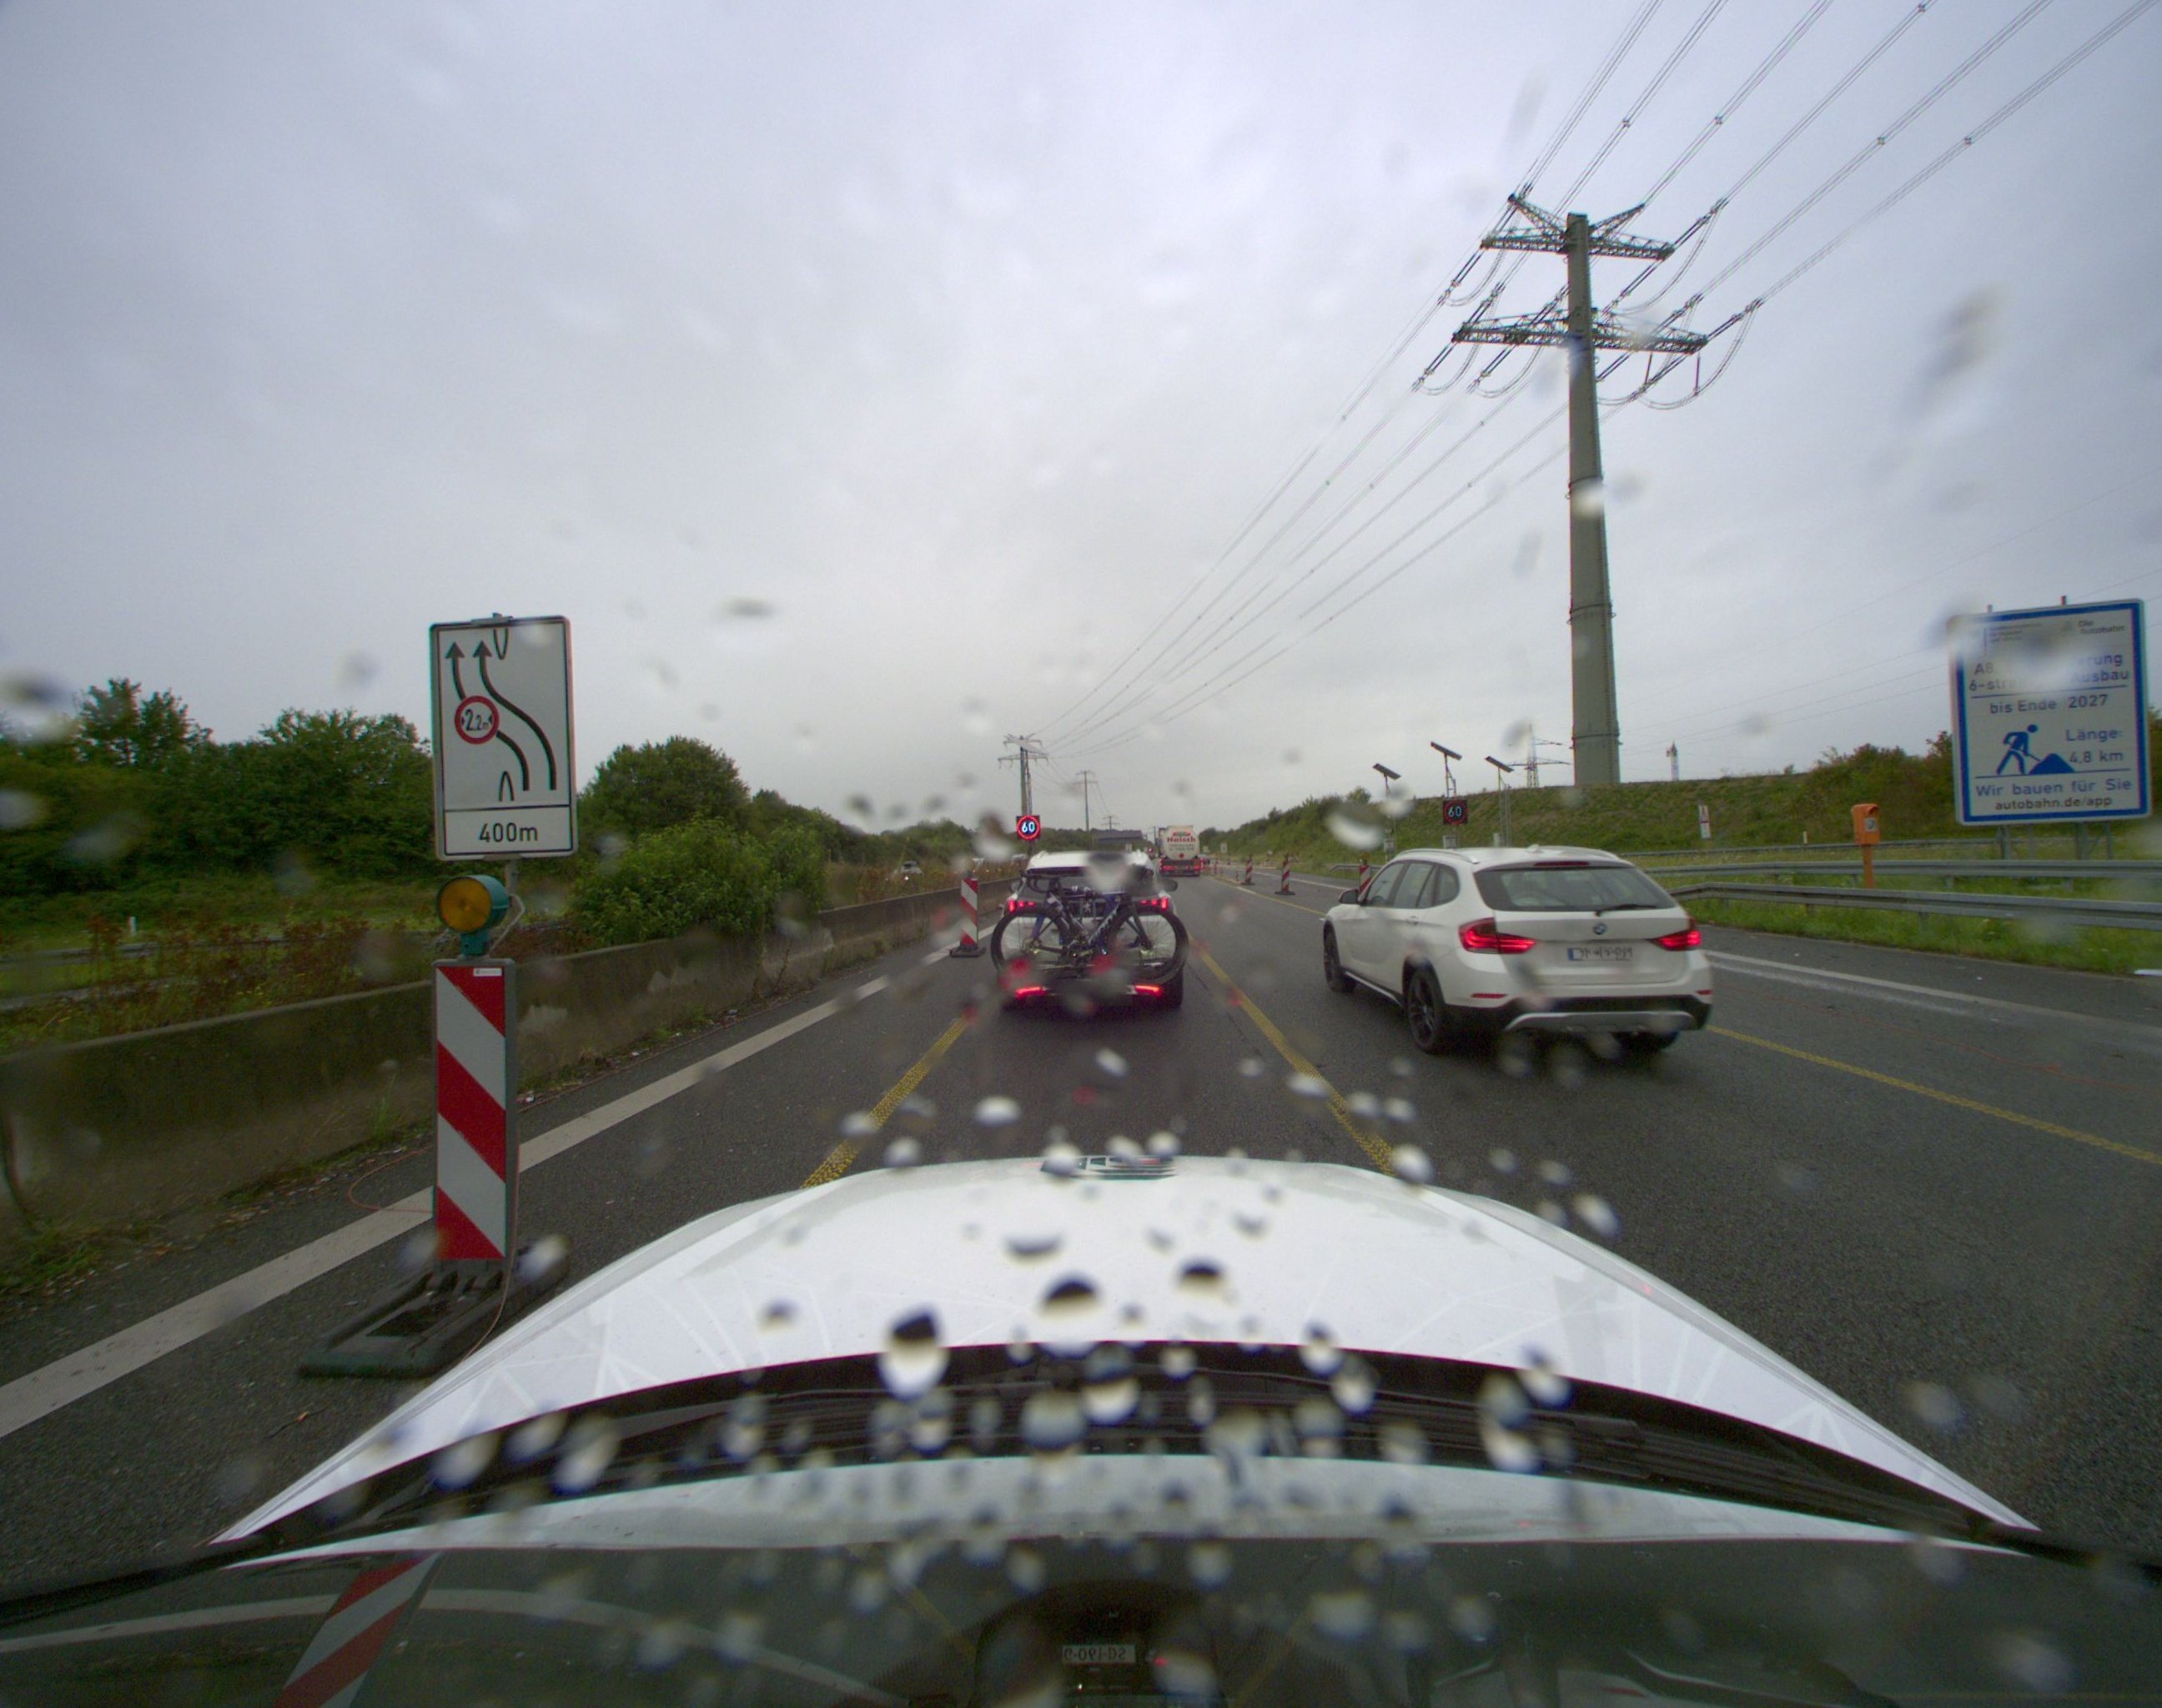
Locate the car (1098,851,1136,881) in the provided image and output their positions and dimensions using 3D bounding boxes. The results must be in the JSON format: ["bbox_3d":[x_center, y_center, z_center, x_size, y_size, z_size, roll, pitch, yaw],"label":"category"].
[{"bbox_3d":[1.973,0.636,45.541,1.986,1.584,4.002,-1,0,2],"label":"car"}]

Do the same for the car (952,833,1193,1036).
[{"bbox_3d":[0.092,0.652,8.851,1.919,1.611,4.600,-1,0,4],"label":"car"}]

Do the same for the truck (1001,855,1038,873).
[{"bbox_3d":[-9.620,1.542,128.283,1.974,2.428,6.475,-2,0,37],"label":"truck"}]

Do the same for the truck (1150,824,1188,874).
[{"bbox_3d":[6.954,-0.361,64.716,2.635,3.891,4.031,0,-1,2],"label":"truck"}]

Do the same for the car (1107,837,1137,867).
[{"bbox_3d":[2.925,-0.116,58.929,1.986,2.013,4.002,-3,0,2],"label":"car"}]

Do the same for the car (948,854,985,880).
[{"bbox_3d":[-8.430,0.955,60.513,1.985,1.801,4.003,0,-1,3],"label":"car"}]

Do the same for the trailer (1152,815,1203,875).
[{"bbox_3d":[6.728,-0.546,58.141,2.628,3.893,10.547,0,-1,2],"label":"trailer"}]

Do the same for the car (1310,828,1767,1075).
[{"bbox_3d":[3.501,0.626,7.293,1.862,1.535,4.199,-1,0,3],"label":"car"}]

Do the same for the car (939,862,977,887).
[{"bbox_3d":[-9.145,1.512,60.607,1.860,1.649,4.005,-3,0,4],"label":"car"}]

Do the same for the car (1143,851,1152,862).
[{"bbox_3d":[12.970,0.457,158.448,1.645,2.013,4.007,-1,0,6],"label":"car"}]

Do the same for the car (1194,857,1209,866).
[{"bbox_3d":[16.136,1.022,108.789,1.477,1.161,3.908,-3,-1,2],"label":"car"}]

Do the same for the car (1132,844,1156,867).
[{"bbox_3d":[5.836,0.144,75.751,1.986,2.013,4.002,-3,0,2],"label":"car"}]

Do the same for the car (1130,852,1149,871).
[{"bbox_3d":[6.353,0.860,88.636,1.986,2.014,4.001,0,-1,2],"label":"car"}]

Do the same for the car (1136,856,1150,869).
[{"bbox_3d":[9.697,1.334,128.031,1.986,2.014,4.001,0,-1,2],"label":"car"}]
